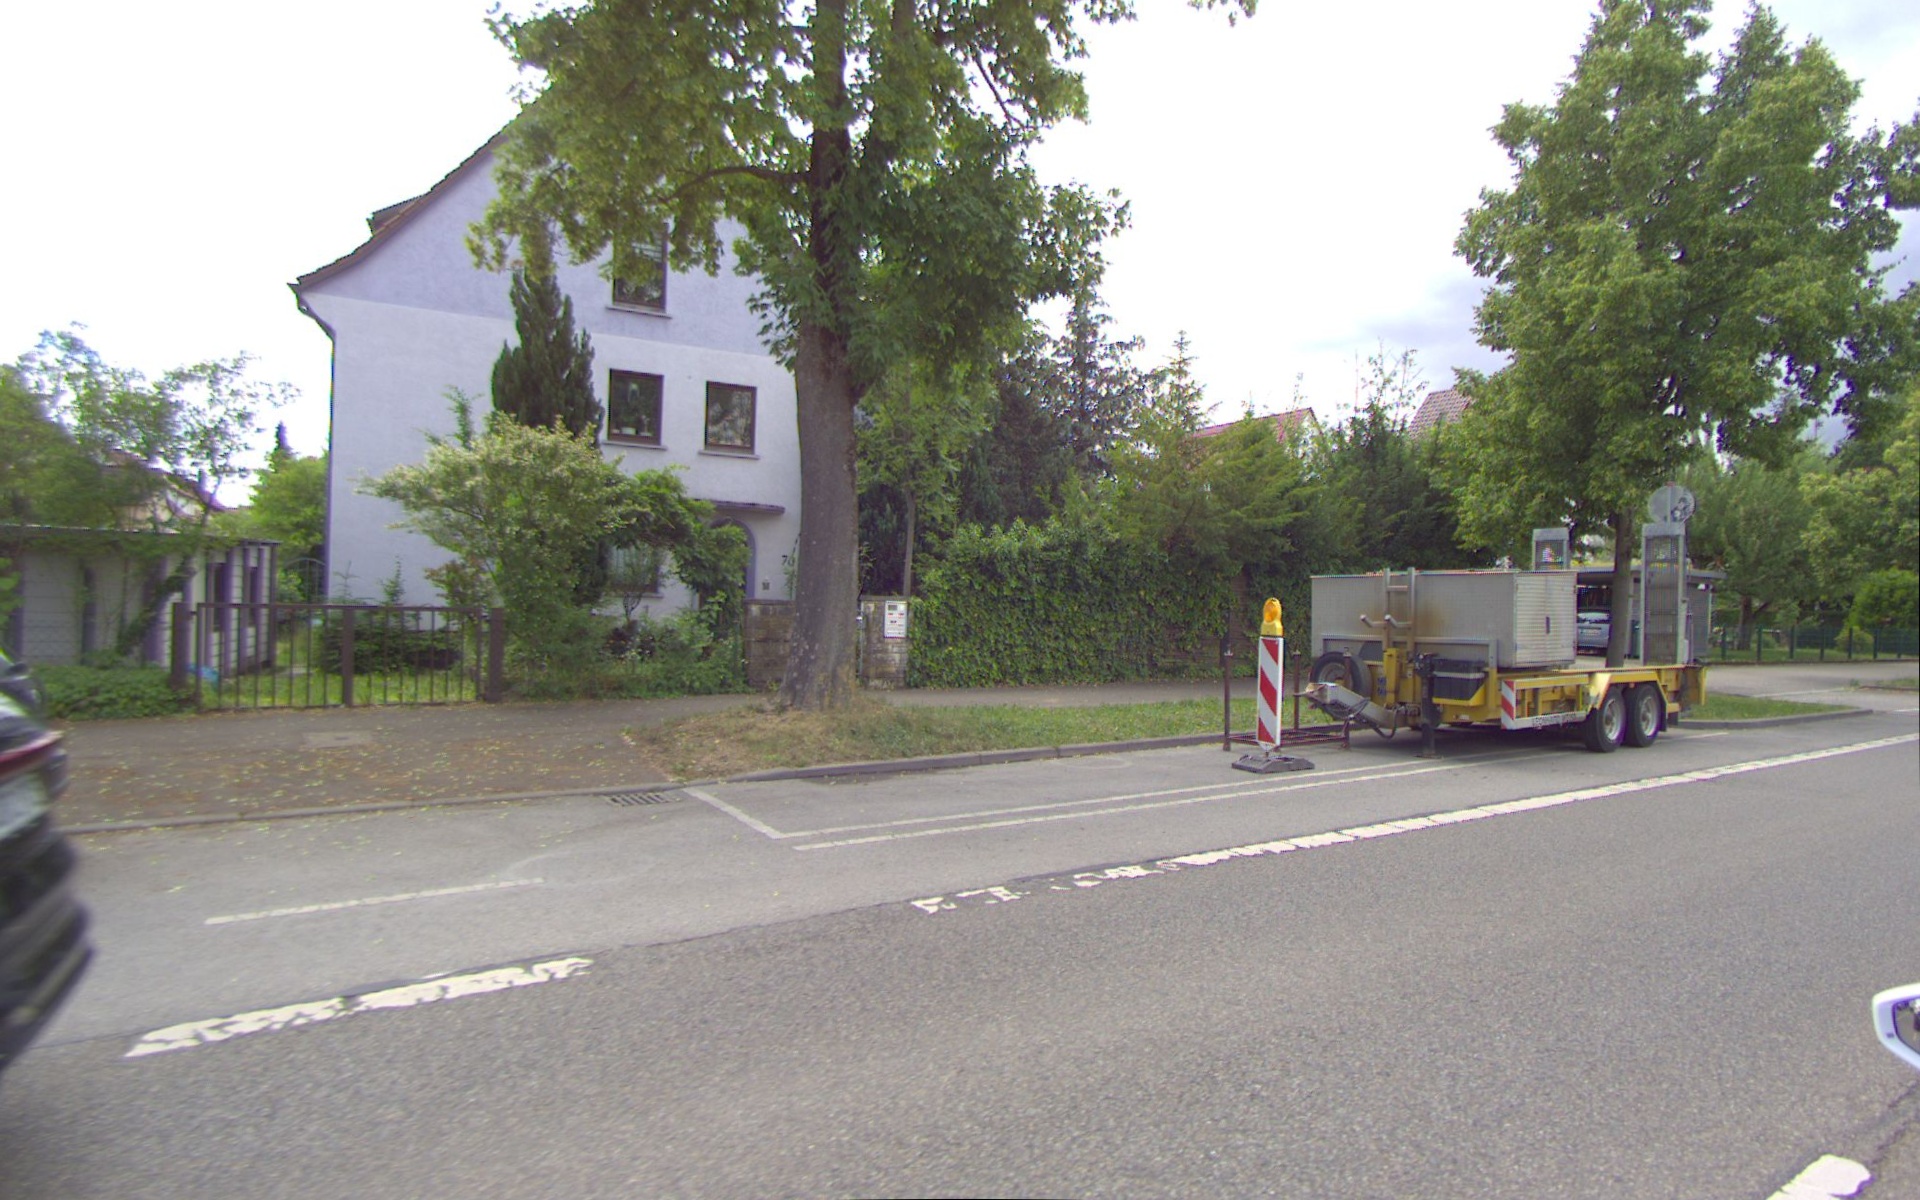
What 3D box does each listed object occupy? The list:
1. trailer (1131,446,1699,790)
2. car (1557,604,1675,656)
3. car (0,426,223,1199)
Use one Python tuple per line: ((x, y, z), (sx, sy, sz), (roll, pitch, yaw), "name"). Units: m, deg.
((5.679, 0.257, 11.912), (7.400, 2.980, 2.656), (2, 0, -35), "trailer")
((20.870, 0.953, 31.914), (3.957, 1.550, 1.697), (2, 0, -33), "car")
((-3.911, 0.529, 1.332), (4.539, 1.689, 1.983), (2, -2, -32), "car")
